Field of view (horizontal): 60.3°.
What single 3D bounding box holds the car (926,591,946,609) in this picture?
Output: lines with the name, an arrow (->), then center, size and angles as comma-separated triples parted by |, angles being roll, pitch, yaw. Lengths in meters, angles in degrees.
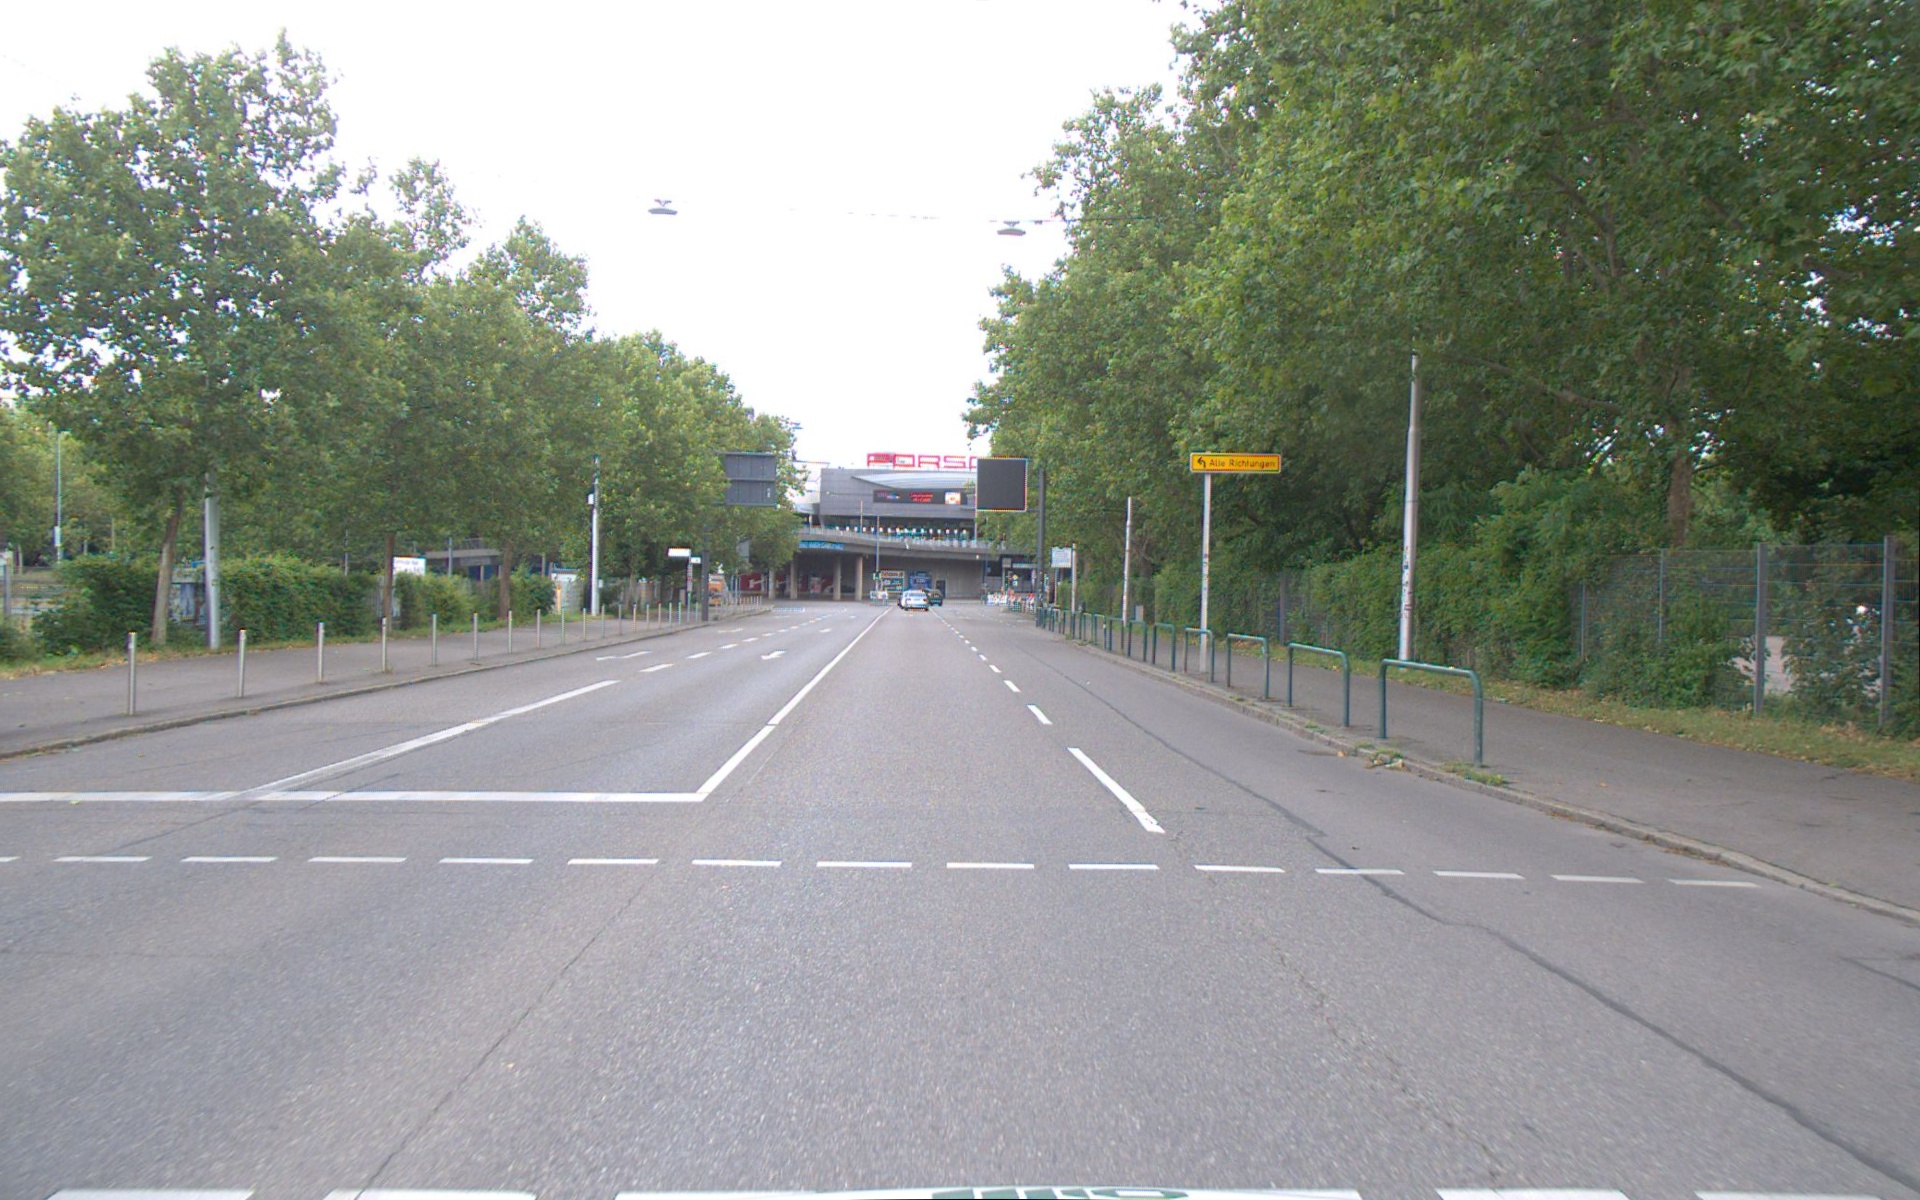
car -> -2.406, 0.006, 169.120 | 1.966, 1.728, 4.069 | 2, 0, -1

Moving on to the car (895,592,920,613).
car -> -4.015, 0.203, 127.217 | 1.742, 1.485, 3.821 | 3, 0, -1
